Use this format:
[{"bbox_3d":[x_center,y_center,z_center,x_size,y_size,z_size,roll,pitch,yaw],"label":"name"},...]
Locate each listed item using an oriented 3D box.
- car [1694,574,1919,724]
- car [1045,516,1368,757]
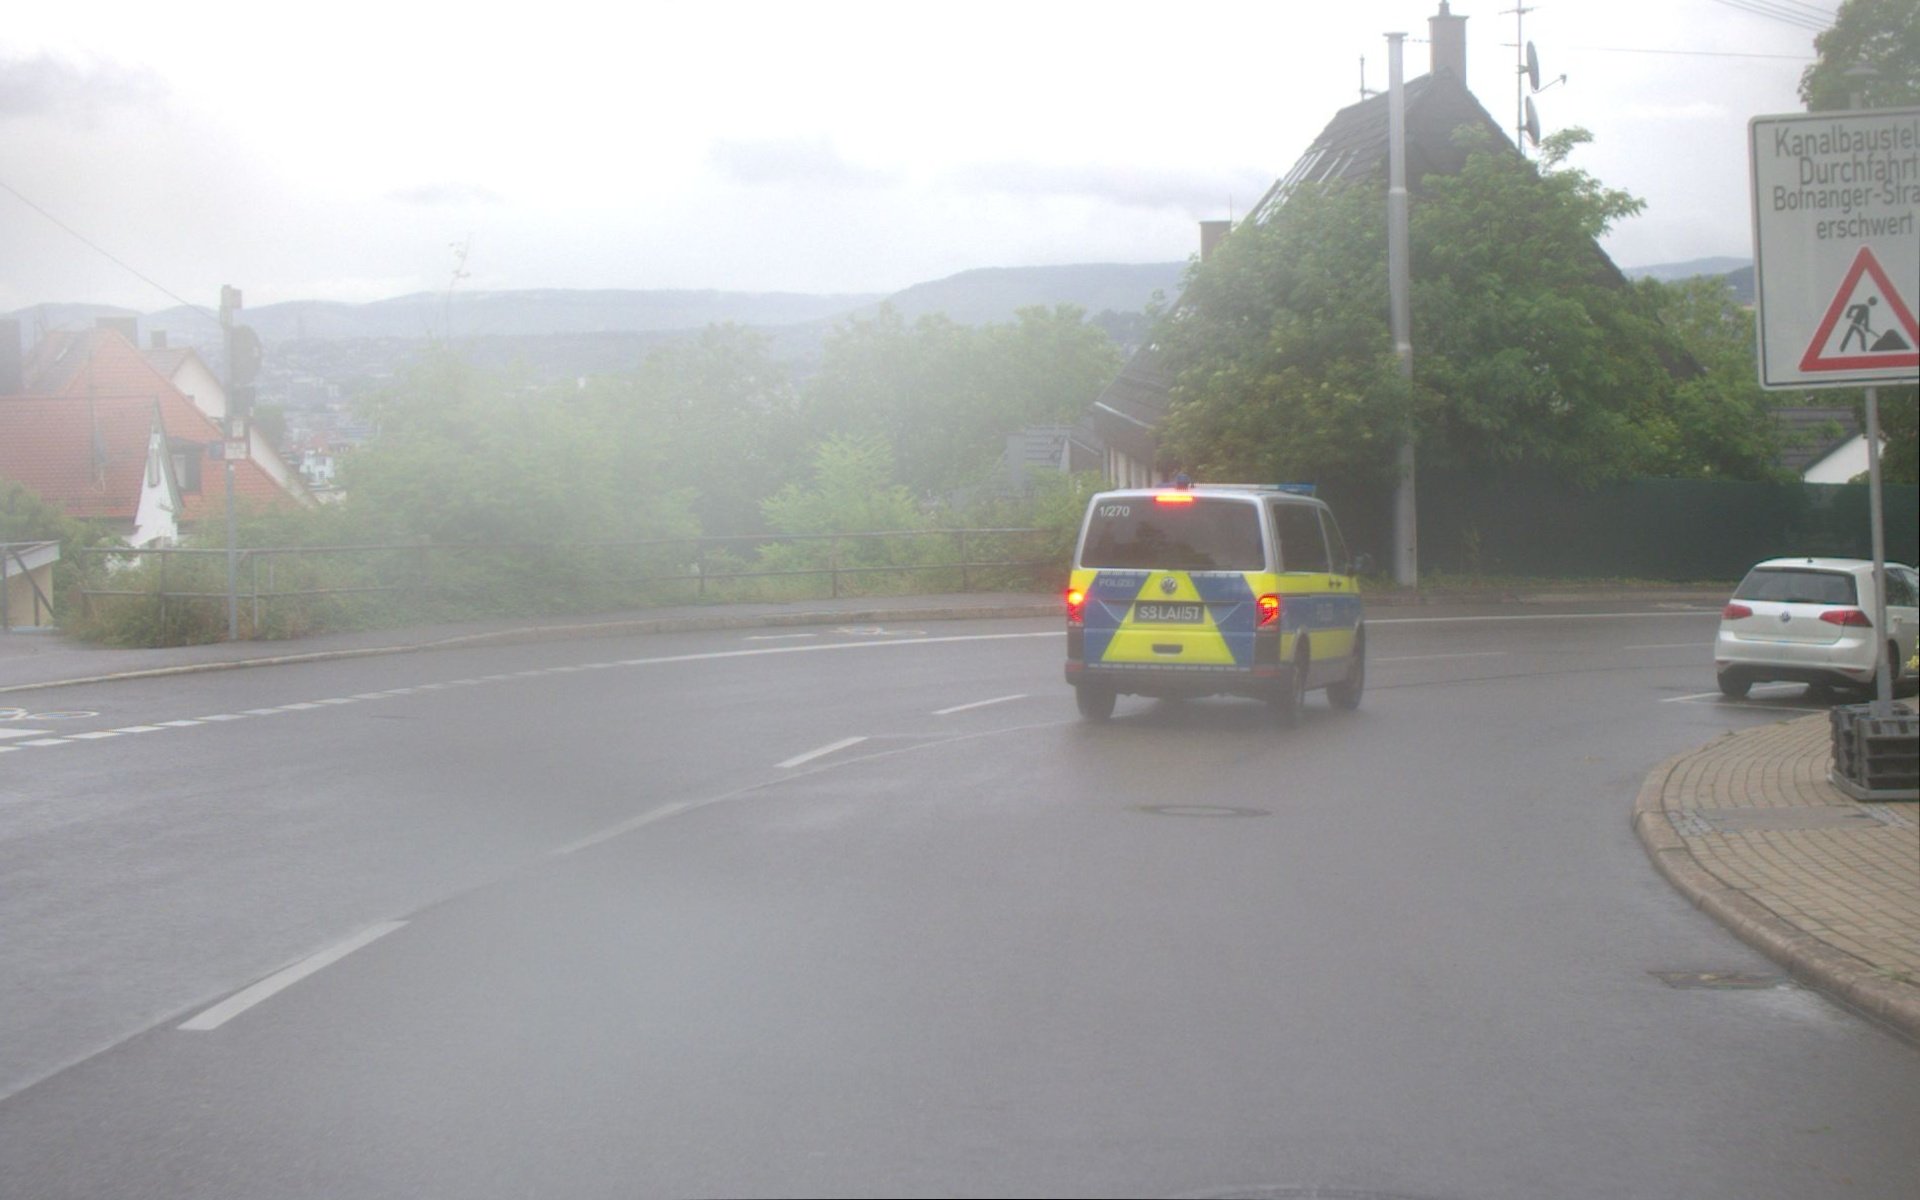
[{"bbox_3d":[9.319,0.471,36.047,1.793,1.441,4.098,1,1,33],"label":"car"},{"bbox_3d":[2.218,0.264,29.696,1.995,1.887,4.567,1,1,14],"label":"car"}]
